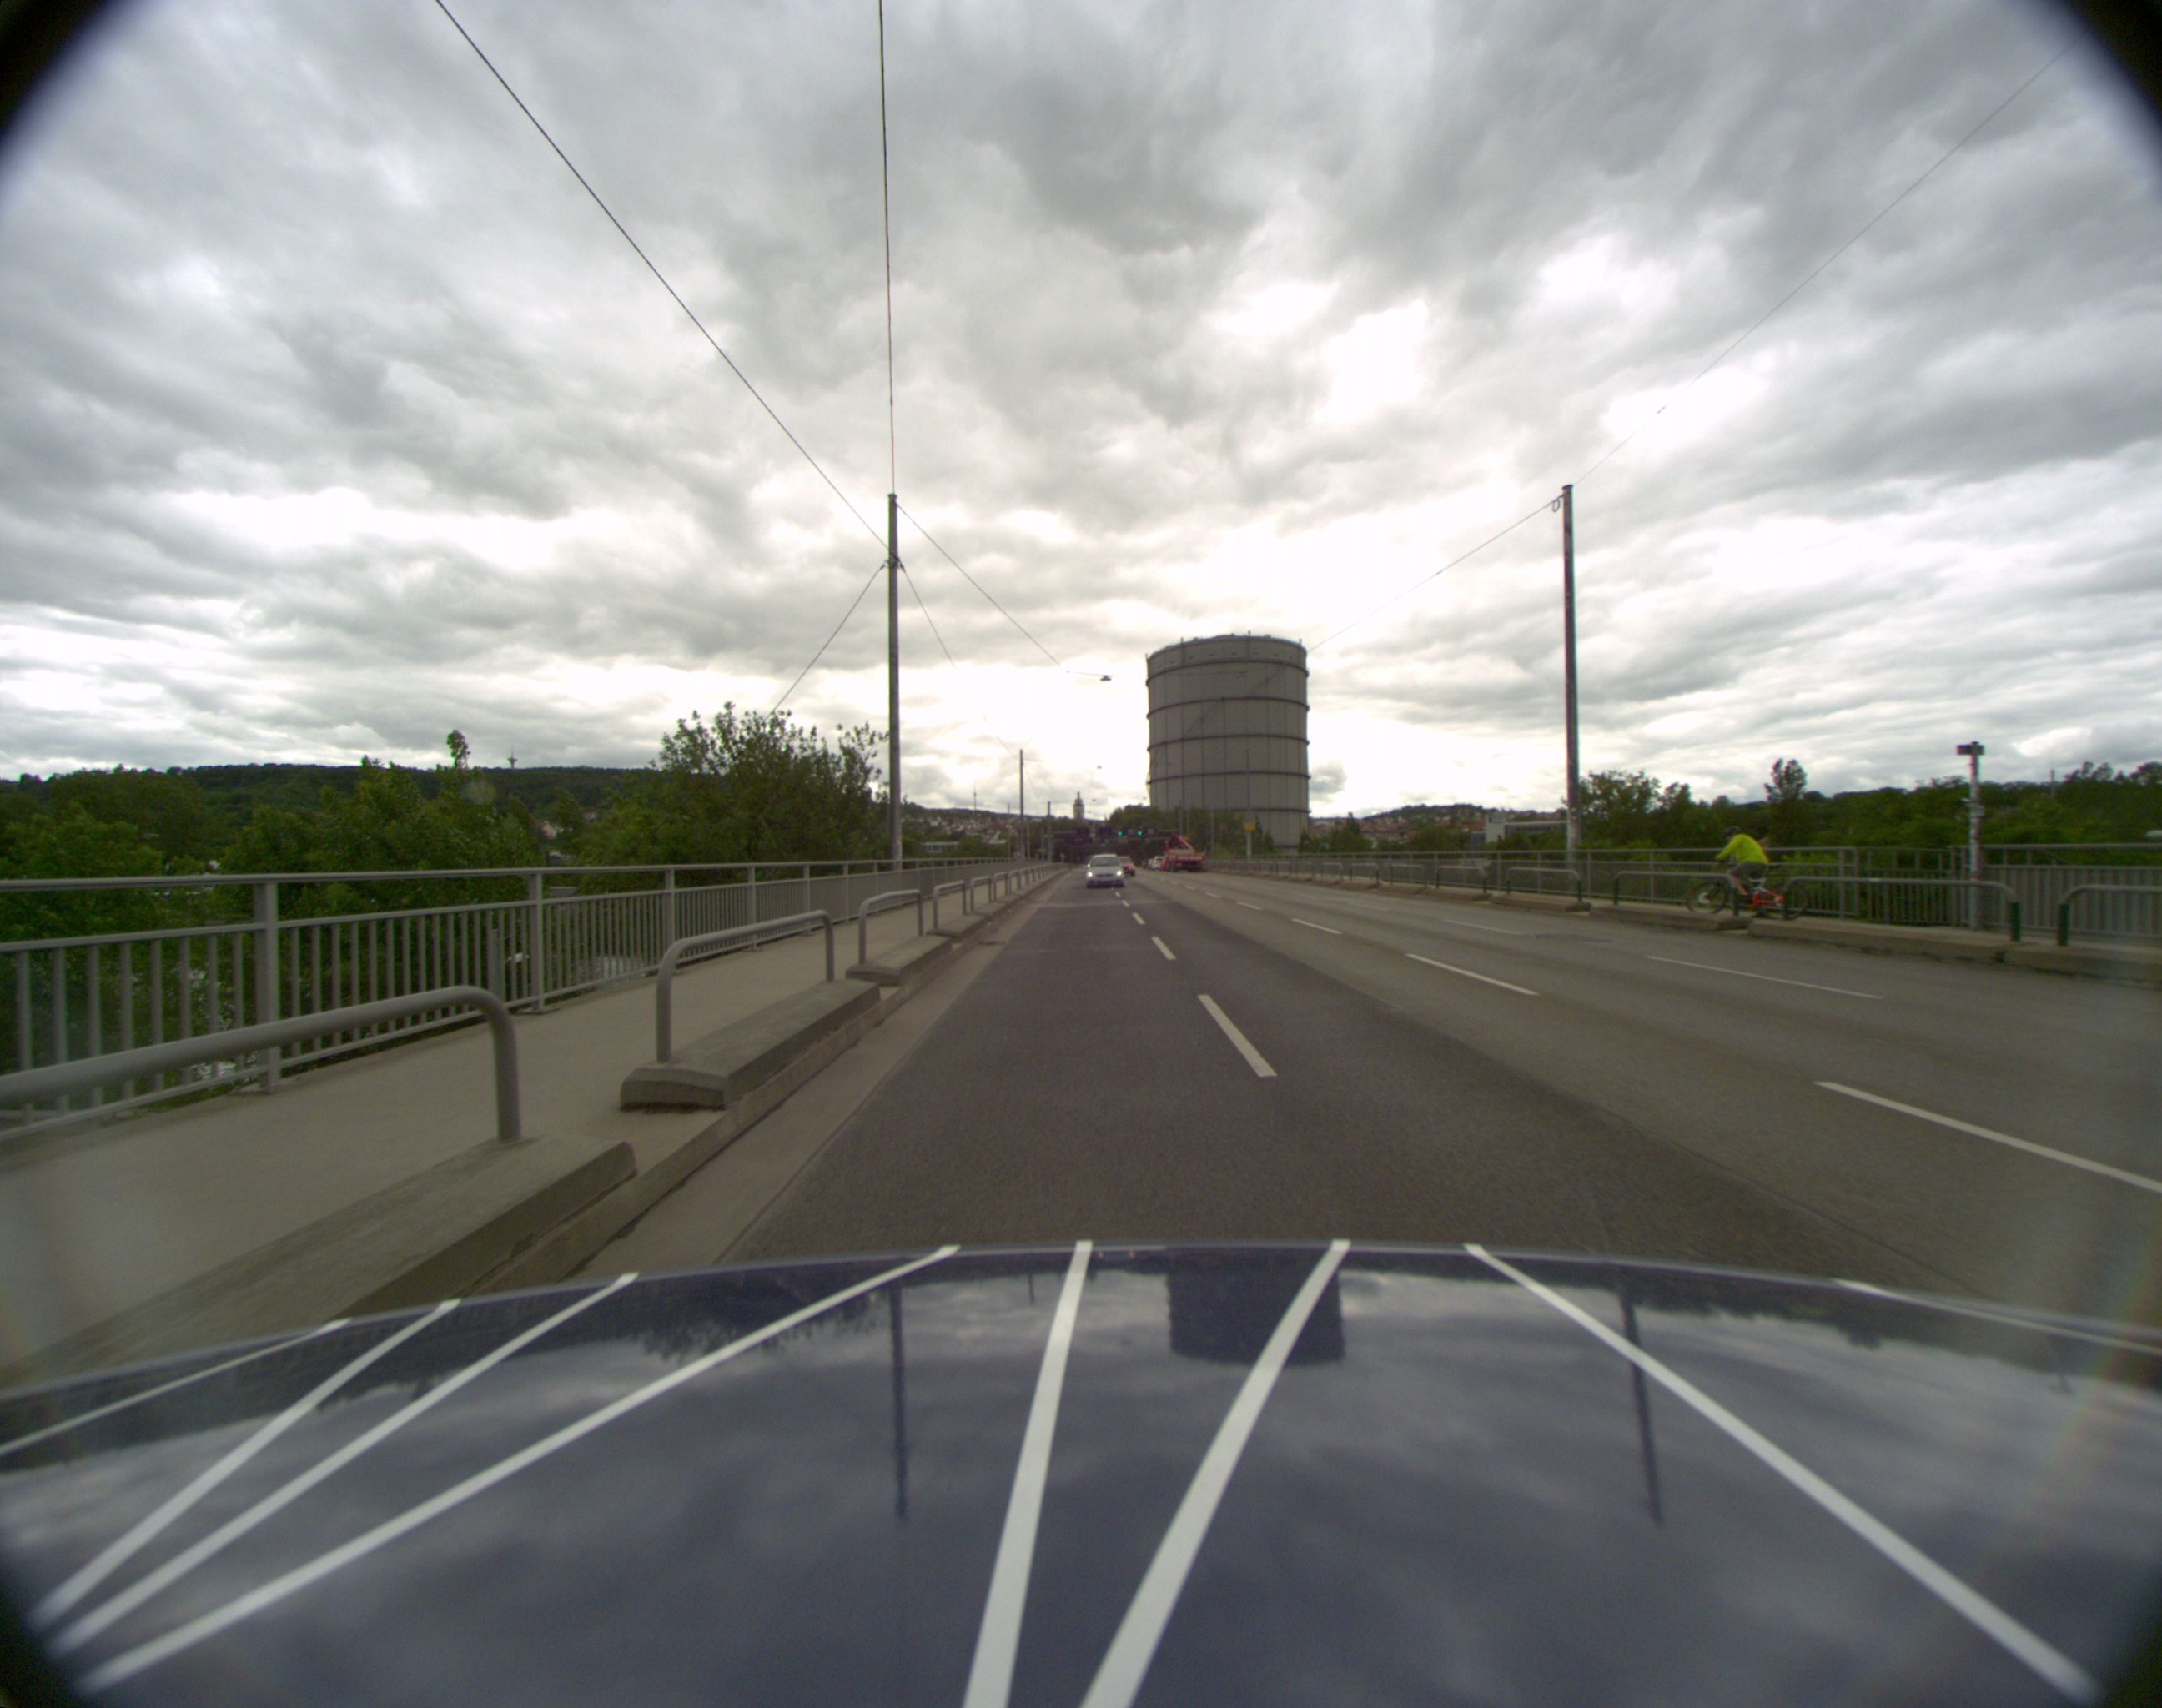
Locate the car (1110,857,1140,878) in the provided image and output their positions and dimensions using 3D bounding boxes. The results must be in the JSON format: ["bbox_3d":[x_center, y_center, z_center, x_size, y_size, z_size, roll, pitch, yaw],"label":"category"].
[{"bbox_3d":[3.135,0.957,54.680,1.747,1.454,3.955,0,-1,-2],"label":"car"}]

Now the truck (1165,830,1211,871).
[{"bbox_3d":[9.860,-0.211,71.105,3.013,3.544,9.983,0,-1,0],"label":"truck"}]

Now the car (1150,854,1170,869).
[{"bbox_3d":[9.608,0.934,92.664,1.884,1.750,4.803,0,-1,0],"label":"car"}]

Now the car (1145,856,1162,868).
[{"bbox_3d":[9.385,1.053,99.076,1.840,1.495,4.517,0,-1,0],"label":"car"}]

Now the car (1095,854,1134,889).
[{"bbox_3d":[1.588,0.860,37.304,1.747,1.594,3.683,-2,-1,1],"label":"car"}]

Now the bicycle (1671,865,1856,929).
[{"bbox_3d":[12.674,0.746,14.305,0.920,1.045,2.799,-1,0,-1],"label":"bicycle"}]

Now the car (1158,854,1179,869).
[{"bbox_3d":[9.513,0.786,82.999,1.884,1.593,4.016,0,-1,0],"label":"car"}]

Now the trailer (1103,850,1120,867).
[{"bbox_3d":[8.201,1.339,205.344,3.669,4.295,13.783,2,-1,0],"label":"trailer"}]

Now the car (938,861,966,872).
[{"bbox_3d":[-21.595,2.132,127.350,4.339,1.610,2.000,-3,1,0],"label":"car"}]

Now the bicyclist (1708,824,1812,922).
[{"bbox_3d":[12.668,0.345,14.218,0.905,1.754,1.136,-1,0,-2],"label":"bicyclist"}]

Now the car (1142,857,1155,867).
[{"bbox_3d":[10.114,1.226,113.931,1.839,1.495,3.873,0,-1,4],"label":"car"}]
